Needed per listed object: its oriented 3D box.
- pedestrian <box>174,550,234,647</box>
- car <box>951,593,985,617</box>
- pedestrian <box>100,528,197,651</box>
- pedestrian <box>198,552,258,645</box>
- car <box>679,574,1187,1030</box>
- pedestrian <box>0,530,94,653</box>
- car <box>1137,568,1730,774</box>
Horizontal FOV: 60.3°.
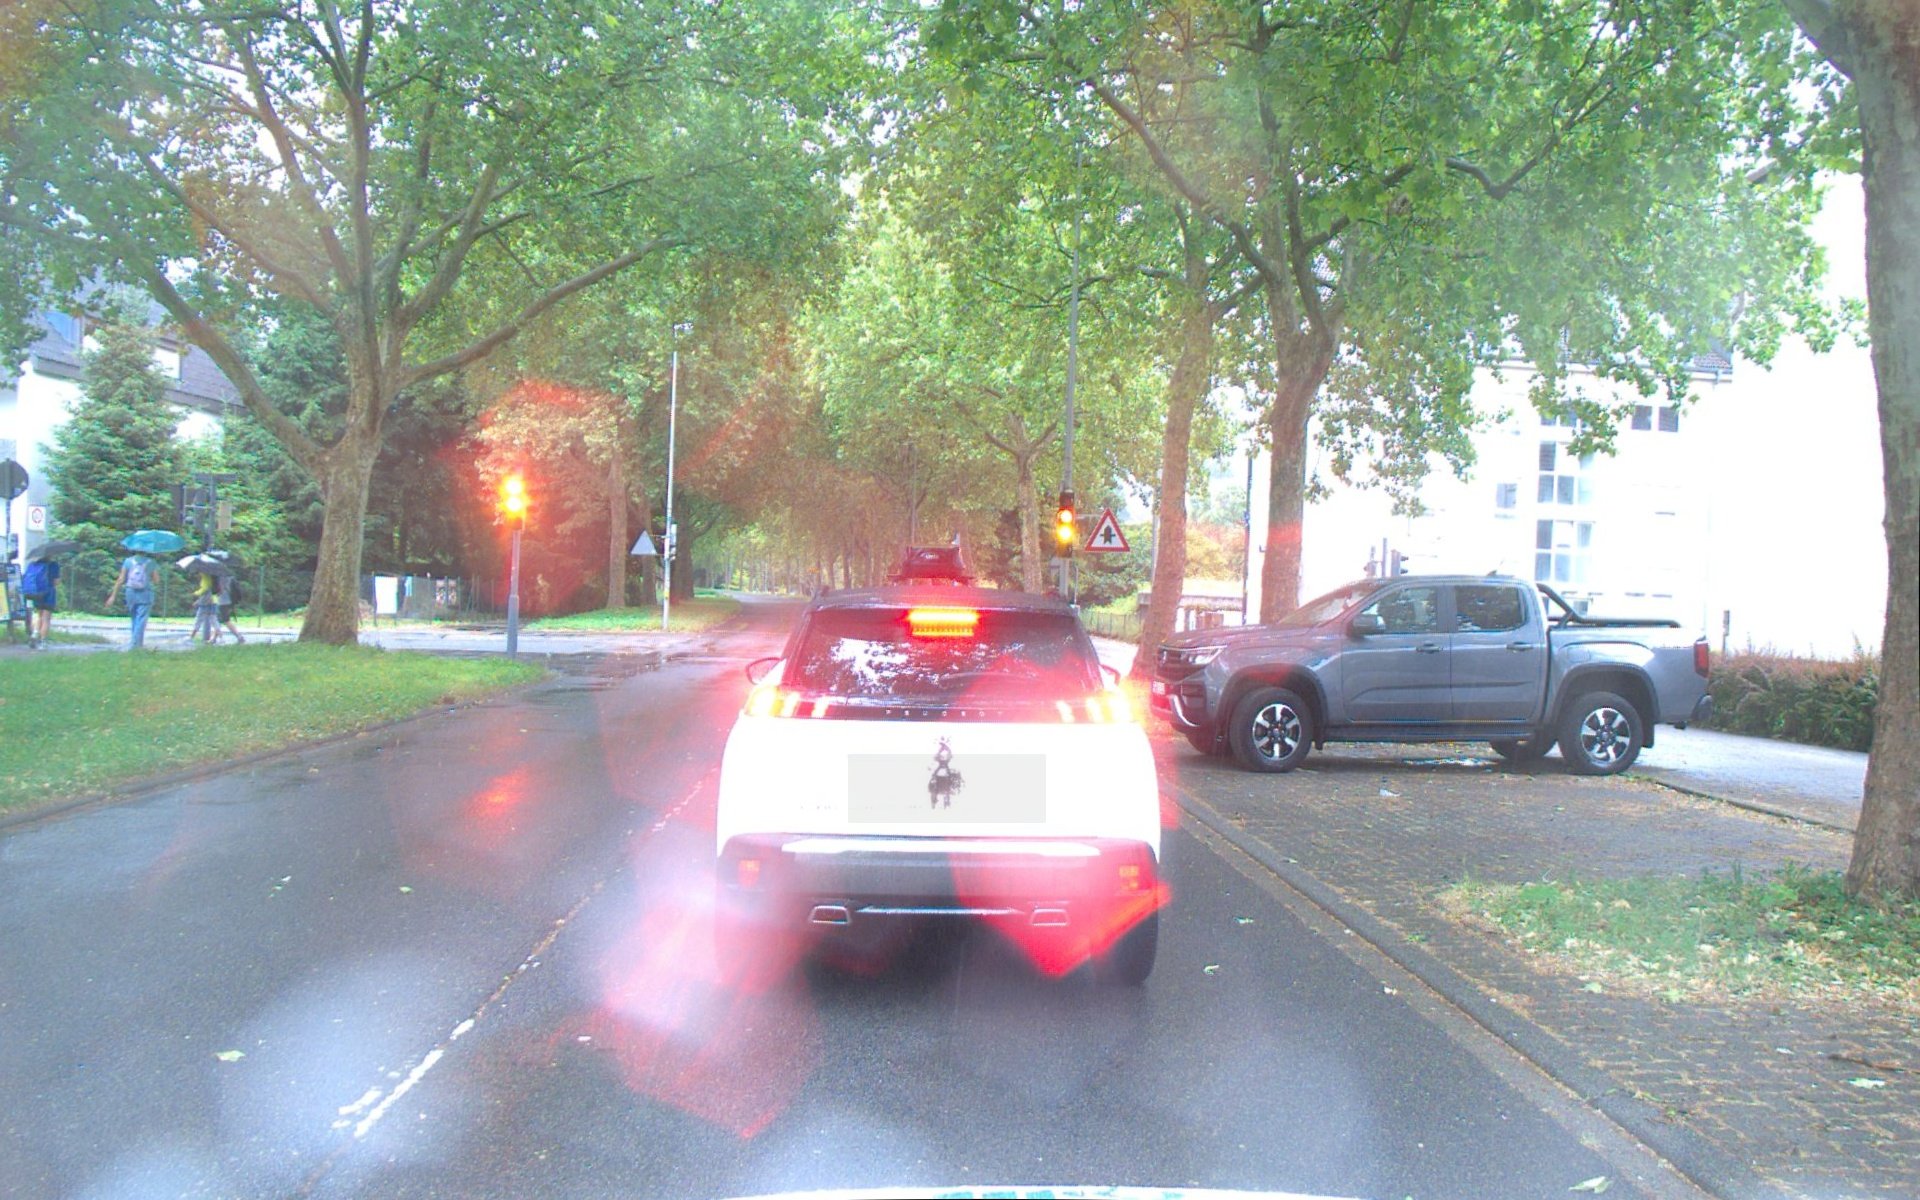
[{"bbox_3d":[-14.253,-0.033,31.205,0.804,1.775,0.639,2,0,-4],"label":"pedestrian"},{"bbox_3d":[0.513,0.316,111.742,1.868,1.536,3.927,2,0,-5],"label":"car"},{"bbox_3d":[-12.217,-0.157,24.932,1.012,1.796,0.838,1,0,-1],"label":"pedestrian"},{"bbox_3d":[-14.370,-0.030,32.491,0.842,1.775,0.639,2,0,-4],"label":"pedestrian"},{"bbox_3d":[-0.132,0.693,7.815,1.744,1.563,4.056,1,0,-1],"label":"car"},{"bbox_3d":[-13.746,-0.128,24.817,1.012,1.796,0.879,1,0,-1],"label":"pedestrian"},{"bbox_3d":[4.486,0.639,16.009,5.238,1.838,1.842,0,0,-8],"label":"car"}]
